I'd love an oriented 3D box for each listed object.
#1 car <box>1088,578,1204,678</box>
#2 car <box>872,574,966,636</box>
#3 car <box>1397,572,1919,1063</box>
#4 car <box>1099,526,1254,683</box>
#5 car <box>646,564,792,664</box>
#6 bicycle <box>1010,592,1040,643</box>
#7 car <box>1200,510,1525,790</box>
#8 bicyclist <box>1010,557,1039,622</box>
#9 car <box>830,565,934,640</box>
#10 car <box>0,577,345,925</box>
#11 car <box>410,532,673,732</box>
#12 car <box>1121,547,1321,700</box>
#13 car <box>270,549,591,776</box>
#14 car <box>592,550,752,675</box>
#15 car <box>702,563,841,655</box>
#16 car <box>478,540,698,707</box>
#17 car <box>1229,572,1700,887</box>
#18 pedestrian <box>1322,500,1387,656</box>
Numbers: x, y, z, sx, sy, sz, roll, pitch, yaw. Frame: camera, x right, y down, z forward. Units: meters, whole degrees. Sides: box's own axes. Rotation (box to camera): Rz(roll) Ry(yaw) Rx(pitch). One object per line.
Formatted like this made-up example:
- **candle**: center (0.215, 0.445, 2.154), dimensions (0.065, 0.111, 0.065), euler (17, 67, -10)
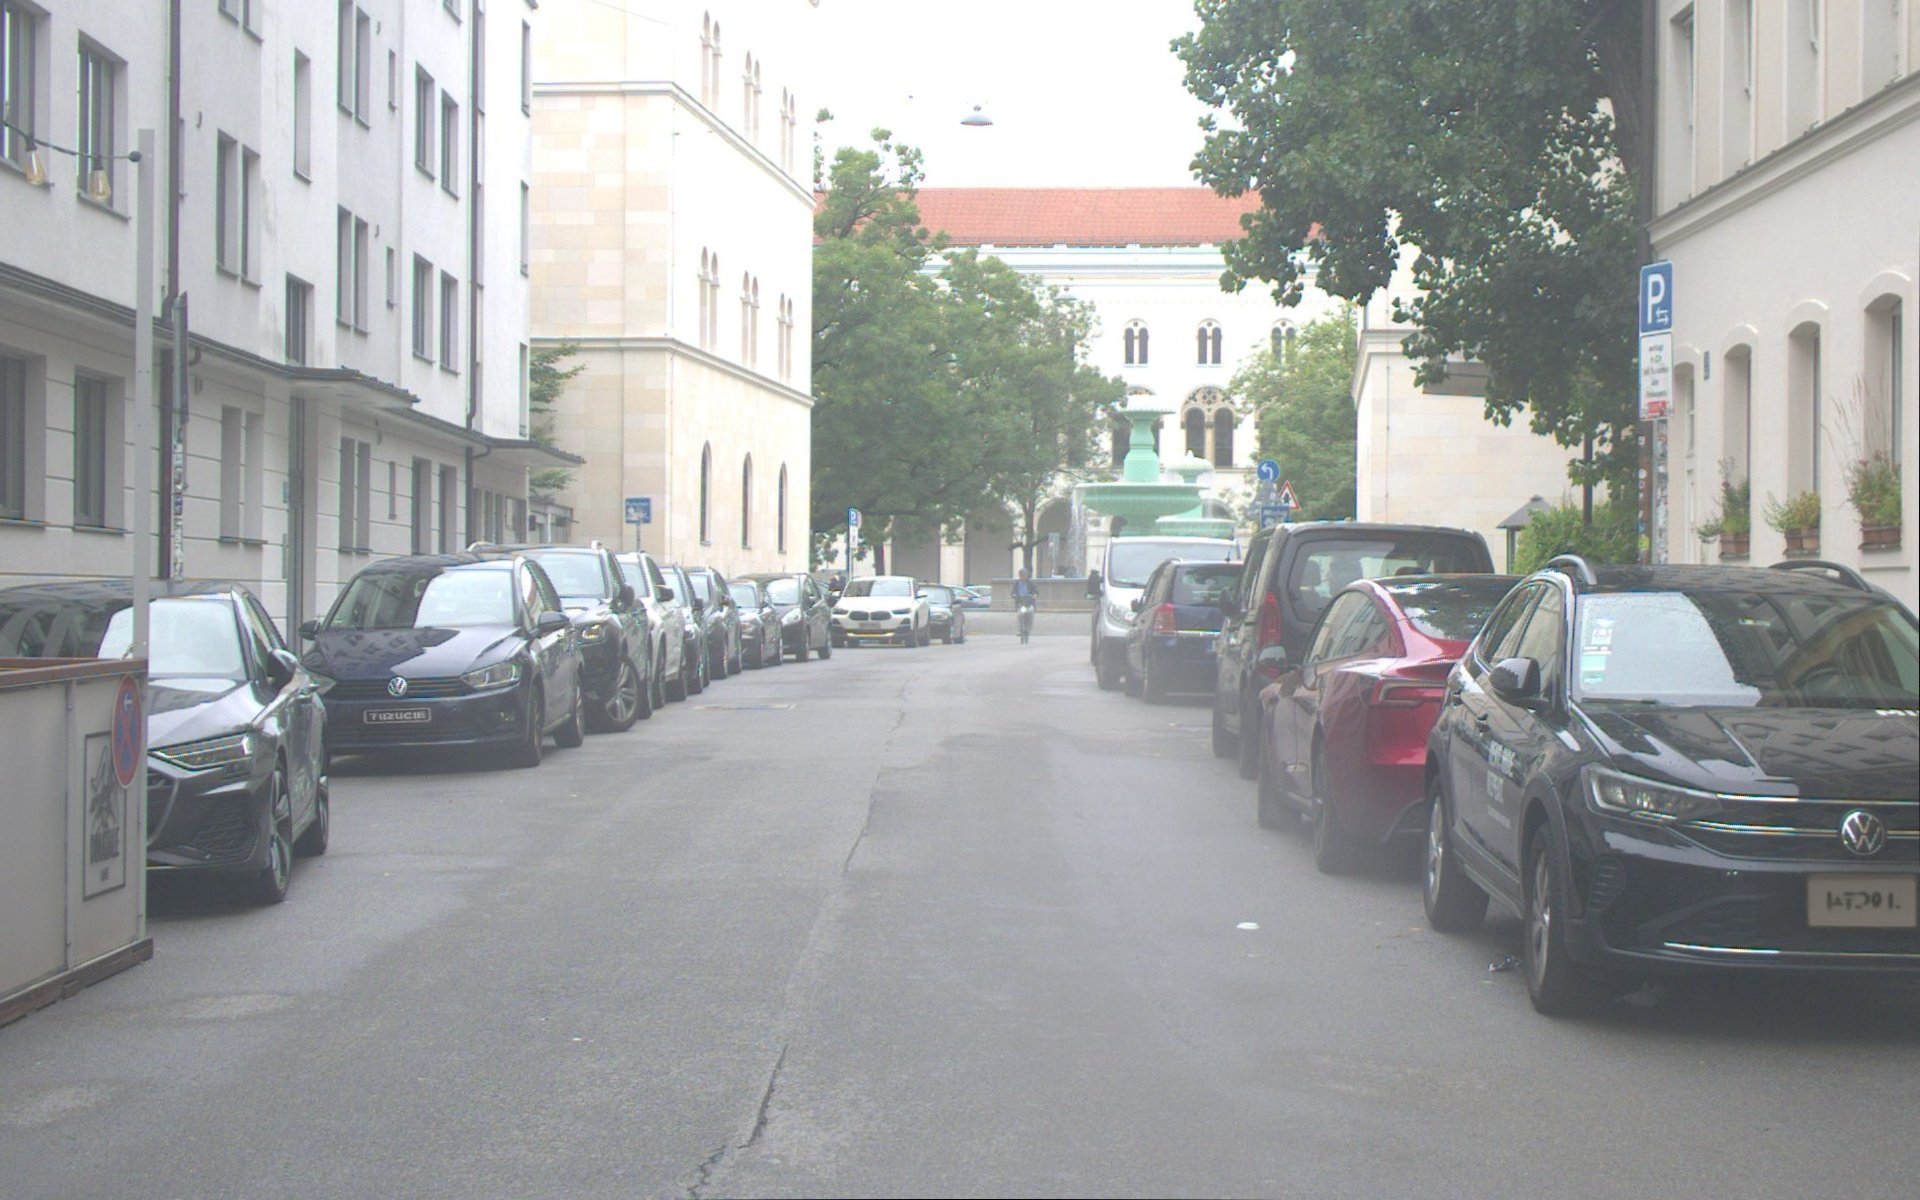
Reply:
- **car**: center (2.856, 0.396, 52.152), dimensions (1.673, 1.412, 4.200), euler (1, 0, 4)
- **car**: center (-0.931, 0.134, 80.529), dimensions (1.699, 1.388, 4.210), euler (-1, 0, 6)
- **car**: center (2.701, 0.646, 12.440), dimensions (1.746, 1.459, 4.000), euler (0, 1, 0)
- **car**: center (2.768, 0.031, 44.758), dimensions (1.882, 1.918, 4.874), euler (0, 1, 2)
- **car**: center (-3.754, 0.196, 54.203), dimensions (1.751, 1.448, 4.015), euler (-1, 1, 4)
- **bicycle**: center (1.553, 0.411, 81.809), dimensions (0.648, 1.193, 1.950), euler (0, 0, 3)
- **car**: center (2.803, 0.327, 24.810), dimensions (1.846, 1.770, 4.201), euler (3, 0, 1)
- **bicyclist**: center (1.537, -0.247, 81.975), dimensions (0.657, 1.545, 0.887), euler (0, 0, 3)
- **car**: center (-1.655, 0.066, 74.178), dimensions (1.778, 1.529, 4.211), euler (-1, 0, 5)
- **car**: center (-3.854, 0.607, 16.007), dimensions (1.638, 1.349, 4.060), euler (-1, 1, -6)
- **car**: center (-3.778, 0.229, 31.746), dimensions (1.872, 1.682, 4.520), euler (-1, 1, 0)
- **car**: center (2.890, 0.231, 38.833), dimensions (1.807, 1.595, 4.215), euler (1, 1, -1)
- **car**: center (-3.913, 0.405, 26.035), dimensions (1.773, 1.534, 4.159), euler (-1, 1, 0)
- **car**: center (-4.041, 0.139, 48.776), dimensions (1.872, 1.652, 4.080), euler (-1, 1, 0)
- **car**: center (-3.195, 0.128, 58.946), dimensions (1.751, 1.448, 4.014), euler (-1, 1, 6)
- **car**: center (-3.959, 0.196, 37.243), dimensions (1.872, 1.652, 4.591), euler (-1, 1, 0)
- **car**: center (2.466, 0.571, 17.833), dimensions (1.713, 1.419, 4.458), euler (0, 0, -1)
- **pedestrian**: center (5.612, -0.318, 48.914), dimensions (0.793, 2.190, 0.813), euler (1, 1, 0)
